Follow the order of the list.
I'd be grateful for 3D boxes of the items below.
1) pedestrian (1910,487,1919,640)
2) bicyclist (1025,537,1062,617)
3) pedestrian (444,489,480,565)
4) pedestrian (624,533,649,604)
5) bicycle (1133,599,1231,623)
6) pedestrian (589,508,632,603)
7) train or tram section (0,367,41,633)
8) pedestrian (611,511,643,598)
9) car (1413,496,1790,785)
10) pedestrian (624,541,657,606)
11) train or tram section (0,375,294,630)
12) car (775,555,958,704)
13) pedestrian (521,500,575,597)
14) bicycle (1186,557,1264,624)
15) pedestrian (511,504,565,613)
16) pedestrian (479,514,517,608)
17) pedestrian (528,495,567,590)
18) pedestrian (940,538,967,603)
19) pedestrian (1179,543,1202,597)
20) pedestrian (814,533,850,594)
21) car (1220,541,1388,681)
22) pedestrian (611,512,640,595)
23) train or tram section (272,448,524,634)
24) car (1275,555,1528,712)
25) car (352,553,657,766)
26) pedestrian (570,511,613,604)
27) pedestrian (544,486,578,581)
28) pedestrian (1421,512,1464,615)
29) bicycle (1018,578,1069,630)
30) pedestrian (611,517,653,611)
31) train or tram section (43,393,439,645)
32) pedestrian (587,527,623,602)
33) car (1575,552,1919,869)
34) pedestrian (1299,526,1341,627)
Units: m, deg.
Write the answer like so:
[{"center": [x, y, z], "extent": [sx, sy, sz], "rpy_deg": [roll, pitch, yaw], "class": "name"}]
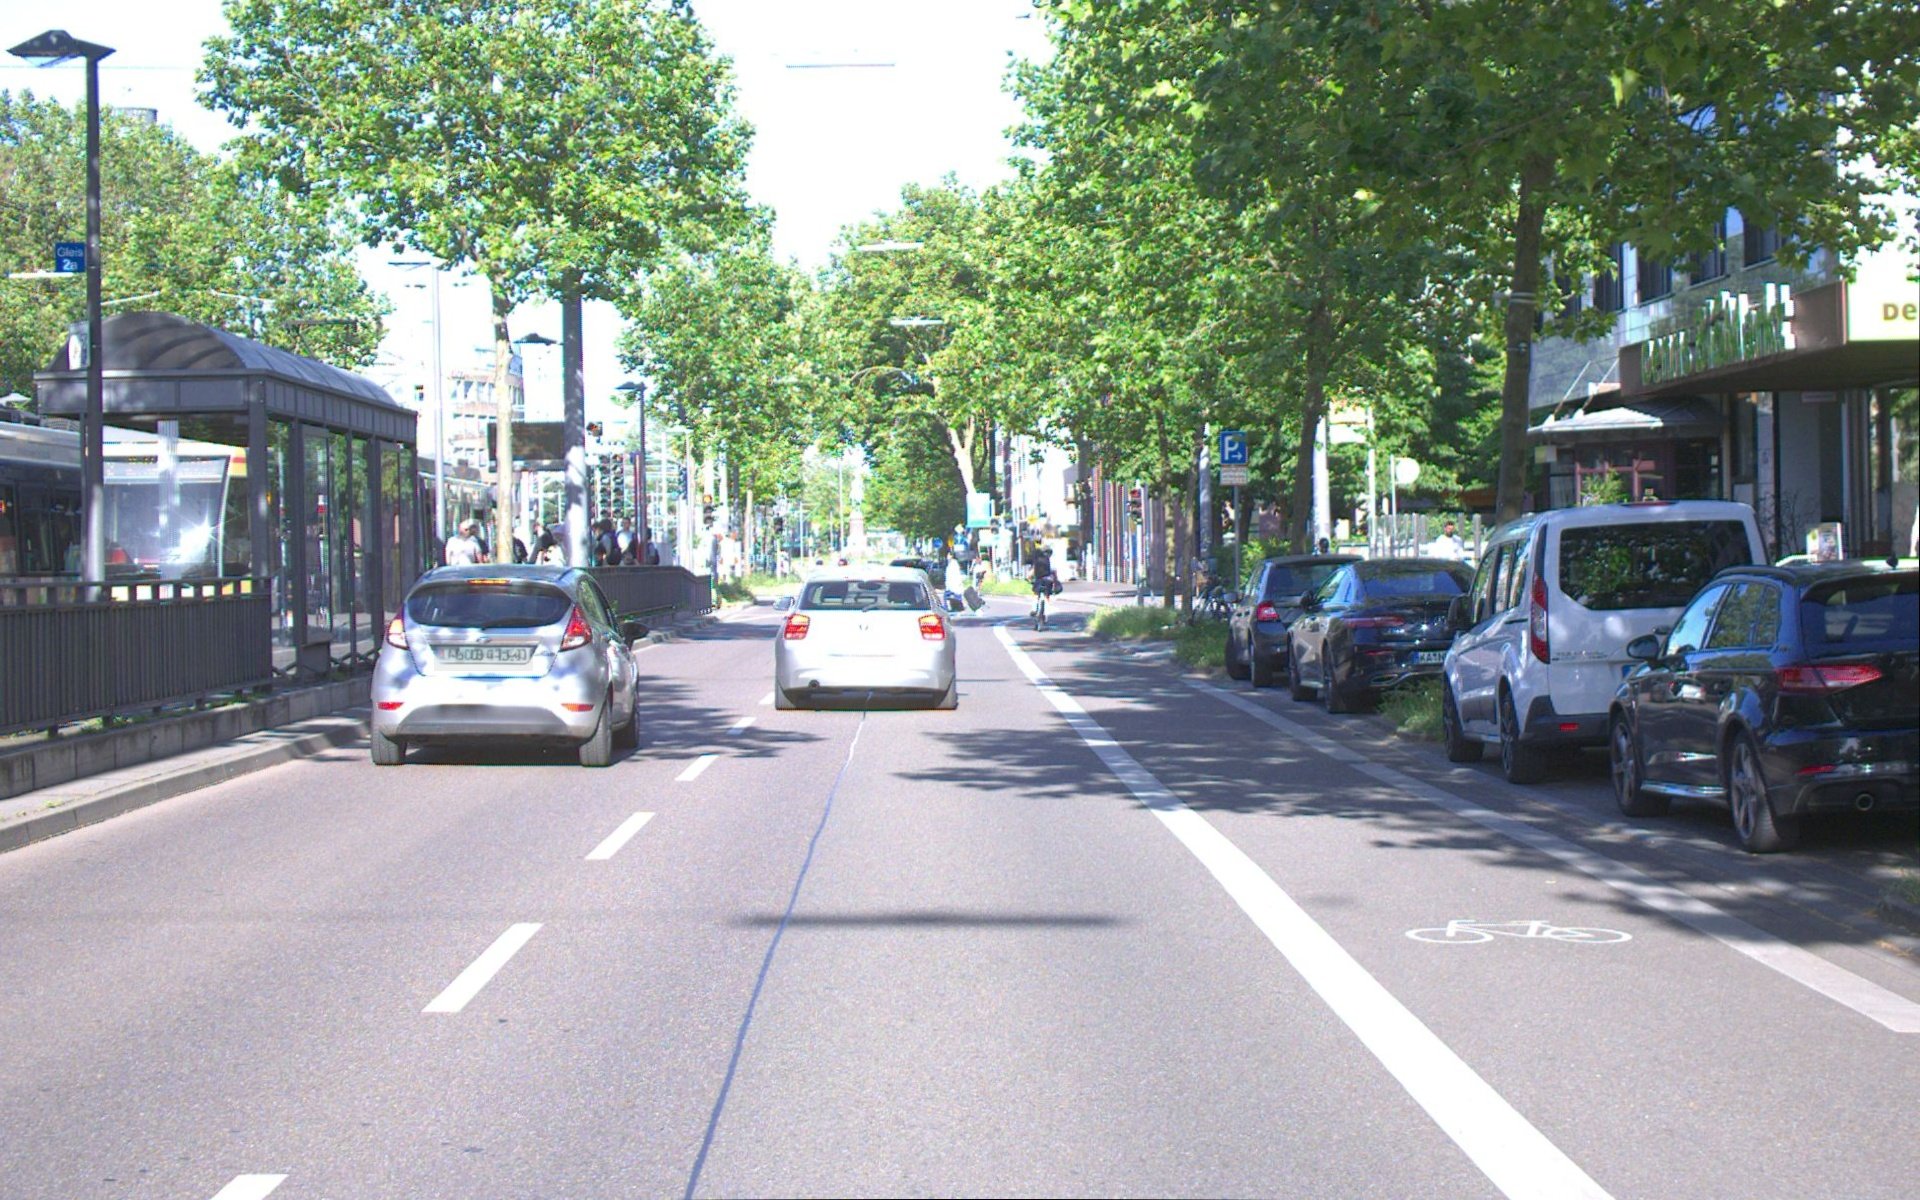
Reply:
[{"center": [11.106, -0.431, 38.885], "extent": [0.612, 1.710, 0.613], "rpy_deg": [-3, 3, 16], "class": "pedestrian"}, {"center": [1.761, -0.486, 72.236], "extent": [0.658, 1.652, 0.764], "rpy_deg": [-1, 1, 8], "class": "bicyclist"}, {"center": [-8.588, -1.262, 59.260], "extent": [0.534, 1.295, 0.604], "rpy_deg": [-2, 1, -4], "class": "pedestrian"}, {"center": [-6.075, -0.597, 64.556], "extent": [0.415, 1.311, 0.507], "rpy_deg": [-1, 1, -2], "class": "pedestrian"}, {"center": [3.862, 0.187, 59.929], "extent": [1.608, 0.352, 1.389], "rpy_deg": [-1, 1, 0], "class": "bicycle"}, {"center": [-6.252, -0.796, 61.478], "extent": [0.660, 1.690, 0.571], "rpy_deg": [-1, 1, 1], "class": "pedestrian"}, {"center": [-13.752, -1.170, 37.102], "extent": [2.871, 3.422, 18.277], "rpy_deg": [0, 1, 0], "class": "train or tram section"}, {"center": [-6.674, -0.914, 68.964], "extent": [0.548, 1.728, 0.540], "rpy_deg": [-1, 1, 1], "class": "pedestrian"}, {"center": [4.368, 0.212, 24.052], "extent": [1.764, 1.785, 4.393], "rpy_deg": [-2, 1, 0], "class": "car"}, {"center": [-5.910, -0.487, 63.557], "extent": [0.545, 1.188, 0.531], "rpy_deg": [-1, 1, -1], "class": "pedestrian"}, {"center": [-13.868, -1.482, 55.350], "extent": [2.849, 3.422, 18.215], "rpy_deg": [0, 1, 0], "class": "train or tram section"}, {"center": [-0.890, 0.260, 34.504], "extent": [1.660, 1.404, 3.632], "rpy_deg": [0, 1, 1], "class": "car"}, {"center": [-6.511, -0.820, 54.373], "extent": [0.775, 1.504, 0.752], "rpy_deg": [-2, 1, -4], "class": "pedestrian"}, {"center": [4.546, -0.171, 59.069], "extent": [0.788, 1.129, 1.847], "rpy_deg": [-1, 1, -13], "class": "bicycle"}, {"center": [-6.852, -0.676, 55.847], "extent": [0.775, 1.746, 0.723], "rpy_deg": [-2, 1, -4], "class": "pedestrian"}, {"center": [-8.404, -0.708, 62.528], "extent": [0.608, 1.696, 0.546], "rpy_deg": [-1, 1, -4], "class": "pedestrian"}, {"center": [-7.482, -1.038, 62.426], "extent": [0.632, 1.696, 0.747], "rpy_deg": [-1, 1, -4], "class": "pedestrian"}, {"center": [-0.166, -0.744, 87.774], "extent": [0.639, 1.614, 0.642], "rpy_deg": [-1, -2, 0], "class": "pedestrian"}, {"center": [6.865, -0.899, 102.383], "extent": [0.627, 1.623, 0.943], "rpy_deg": [0, 1, 8], "class": "pedestrian"}, {"center": [-3.321, -0.943, 89.134], "extent": [0.830, 1.570, 0.739], "rpy_deg": [0, 0, 7], "class": "pedestrian"}, {"center": [4.003, 0.097, 40.518], "extent": [1.565, 1.545, 4.000], "rpy_deg": [-1, 1, 0], "class": "car"}, {"center": [-7.032, -0.986, 72.316], "extent": [0.547, 1.728, 0.540], "rpy_deg": [-1, 1, -4], "class": "pedestrian"}, {"center": [-10.808, -1.044, 67.592], "extent": [2.914, 3.249, 13.113], "rpy_deg": [1, 0, -1], "class": "train or tram section"}, {"center": [4.211, 0.269, 33.472], "extent": [1.761, 1.413, 4.701], "rpy_deg": [0, 1, -1], "class": "car"}, {"center": [-3.319, 0.385, 25.669], "extent": [1.730, 1.385, 3.840], "rpy_deg": [1, 2, 1], "class": "car"}, {"center": [-6.522, -0.747, 60.941], "extent": [0.660, 1.628, 0.571], "rpy_deg": [-1, 1, 1], "class": "pedestrian"}, {"center": [-7.228, -1.204, 62.288], "extent": [0.514, 1.702, 0.621], "rpy_deg": [-1, 1, -1], "class": "pedestrian"}, {"center": [8.231, -0.622, 58.638], "extent": [0.560, 1.738, 0.878], "rpy_deg": [-2, 1, -1], "class": "pedestrian"}, {"center": [1.763, 0.084, 72.282], "extent": [0.832, 1.038, 1.874], "rpy_deg": [-1, 1, 8], "class": "bicycle"}, {"center": [-5.976, -0.653, 62.642], "extent": [0.660, 1.690, 0.571], "rpy_deg": [-1, 1, 1], "class": "pedestrian"}, {"center": [-10.636, -1.054, 53.072], "extent": [2.914, 3.249, 15.894], "rpy_deg": [1, 0, -1], "class": "train or tram section"}, {"center": [-5.998, -0.595, 58.055], "extent": [0.534, 1.242, 0.604], "rpy_deg": [-2, 1, -2], "class": "pedestrian"}, {"center": [4.573, 0.487, 18.234], "extent": [1.728, 1.398, 4.295], "rpy_deg": [-2, 1, -1], "class": "car"}, {"center": [6.139, -0.403, 58.667], "extent": [0.560, 1.698, 1.052], "rpy_deg": [-2, 1, -1], "class": "pedestrian"}]
